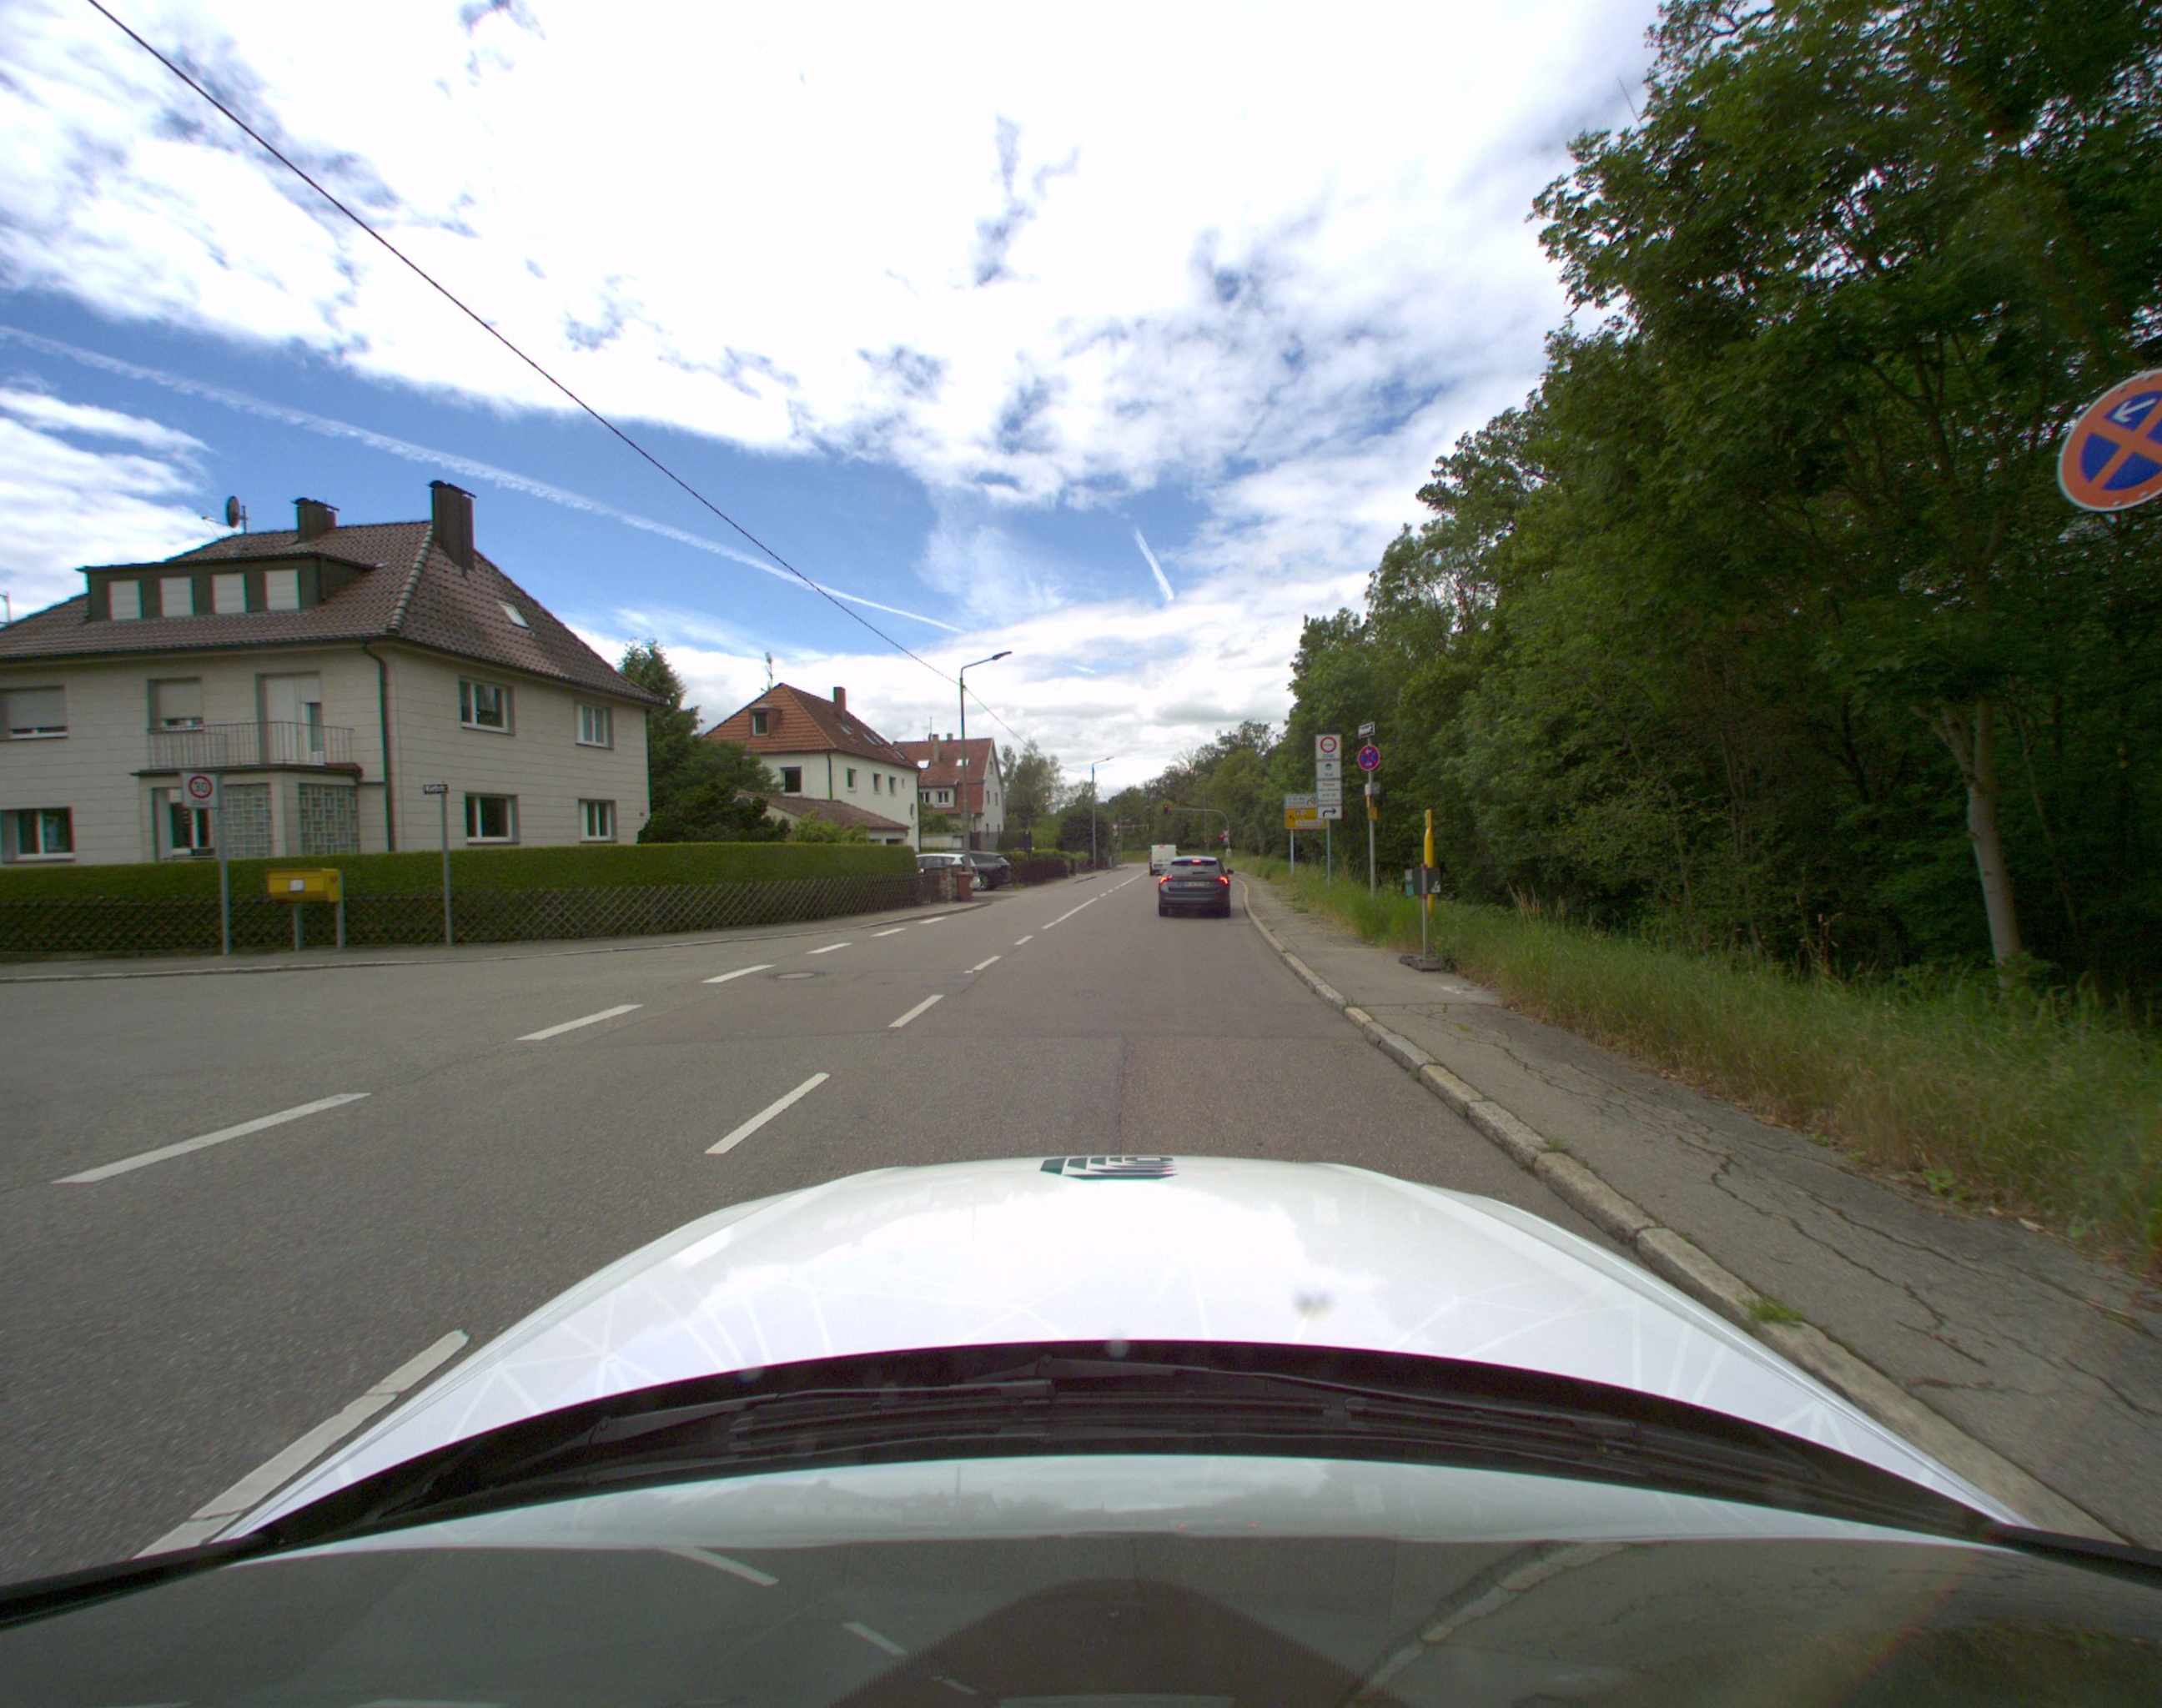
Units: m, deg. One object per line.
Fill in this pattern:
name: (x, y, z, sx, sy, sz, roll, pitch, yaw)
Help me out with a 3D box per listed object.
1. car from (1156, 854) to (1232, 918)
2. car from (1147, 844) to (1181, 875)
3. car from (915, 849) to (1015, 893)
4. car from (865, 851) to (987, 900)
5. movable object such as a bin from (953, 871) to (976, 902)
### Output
car: (2.907, 0.746, 21.016, 1.718, 1.439, 4.333, -1, 0, 8)
car: (5.430, 0.339, 53.451, 2.062, 1.922, 4.929, -1, 0, 5)
car: (-4.912, 0.718, 34.999, 3.976, 1.706, 1.915, -2, 0, -2)
car: (-5.616, 0.770, 29.872, 3.972, 1.618, 2.001, -2, 0, 1)
movable object such as a bin: (-3.787, 1.049, 26.524, 0.597, 0.951, 0.580, -2, 0, 3)
